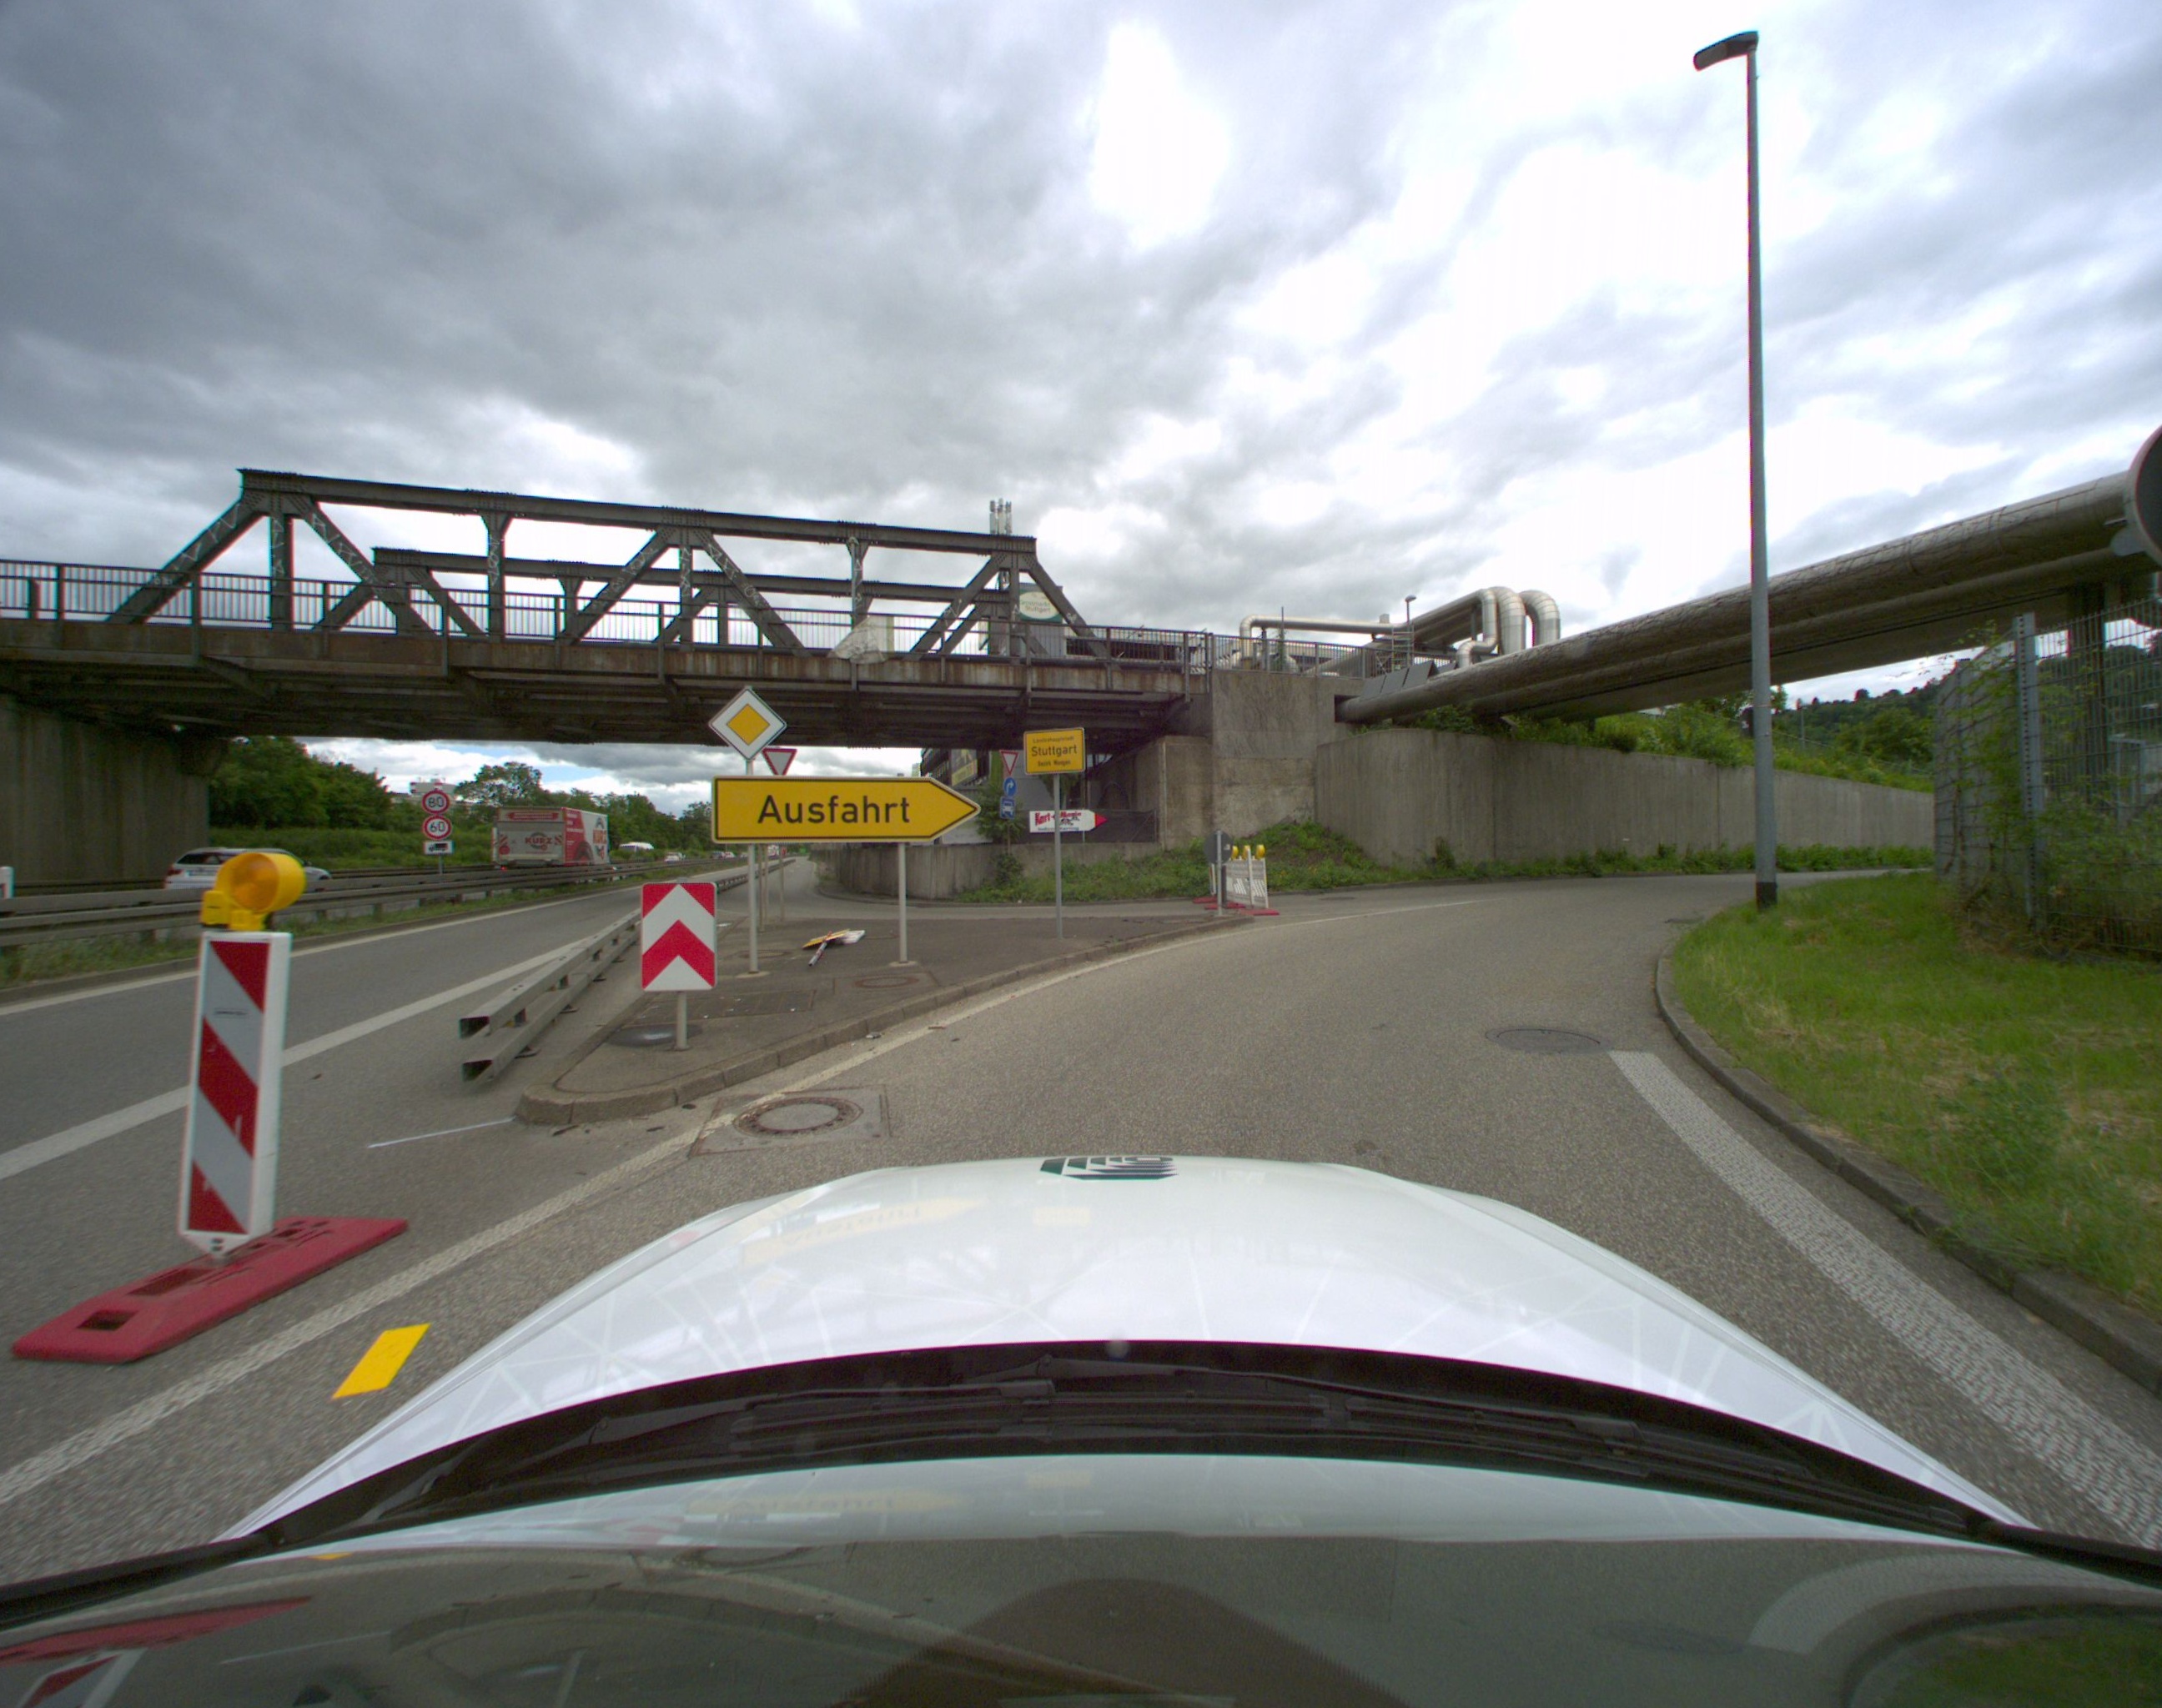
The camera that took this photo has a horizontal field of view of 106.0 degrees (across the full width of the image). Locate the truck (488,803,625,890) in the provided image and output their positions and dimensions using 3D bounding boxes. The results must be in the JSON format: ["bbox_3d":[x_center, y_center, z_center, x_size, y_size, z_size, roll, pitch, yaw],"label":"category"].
[{"bbox_3d":[-24.893,-0.338,39.340,2.961,3.629,10.094,-1,0,-17],"label":"truck"}]

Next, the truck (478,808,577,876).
[{"bbox_3d":[-31.879,-0.665,47.294,3.006,3.556,7.685,-2,1,-21],"label":"truck"}]

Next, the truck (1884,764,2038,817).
[{"bbox_3d":[69.019,-4.887,64.186,7.765,3.538,3.072,0,-1,36],"label":"truck"}]

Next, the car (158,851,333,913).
[{"bbox_3d":[-24.336,0.749,23.971,1.860,1.640,4.264,0,0,-19],"label":"car"}]

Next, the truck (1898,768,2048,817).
[{"bbox_3d":[72.771,-4.943,66.714,7.765,3.538,3.071,0,-1,33],"label":"truck"}]

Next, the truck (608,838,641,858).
[{"bbox_3d":[-68.605,-0.882,122.528,2.501,2.846,7.217,0,0,-15],"label":"truck"}]

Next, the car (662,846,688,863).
[{"bbox_3d":[-46.474,0.051,93.278,1.999,1.759,3.976,-2,1,-18],"label":"car"}]

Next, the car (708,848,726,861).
[{"bbox_3d":[-53.261,0.022,119.097,2.000,1.759,3.974,-2,1,-19],"label":"car"}]

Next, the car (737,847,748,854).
[{"bbox_3d":[-74.734,-0.720,179.793,1.784,1.596,3.728,-1,1,-17],"label":"car"}]

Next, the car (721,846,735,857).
[{"bbox_3d":[-63.062,-0.465,145.604,2.000,1.815,3.974,-1,1,-20],"label":"car"}]

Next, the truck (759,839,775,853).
[{"bbox_3d":[-88.003,-2.292,228.229,3.730,3.645,7.682,-1,1,-17],"label":"truck"}]
